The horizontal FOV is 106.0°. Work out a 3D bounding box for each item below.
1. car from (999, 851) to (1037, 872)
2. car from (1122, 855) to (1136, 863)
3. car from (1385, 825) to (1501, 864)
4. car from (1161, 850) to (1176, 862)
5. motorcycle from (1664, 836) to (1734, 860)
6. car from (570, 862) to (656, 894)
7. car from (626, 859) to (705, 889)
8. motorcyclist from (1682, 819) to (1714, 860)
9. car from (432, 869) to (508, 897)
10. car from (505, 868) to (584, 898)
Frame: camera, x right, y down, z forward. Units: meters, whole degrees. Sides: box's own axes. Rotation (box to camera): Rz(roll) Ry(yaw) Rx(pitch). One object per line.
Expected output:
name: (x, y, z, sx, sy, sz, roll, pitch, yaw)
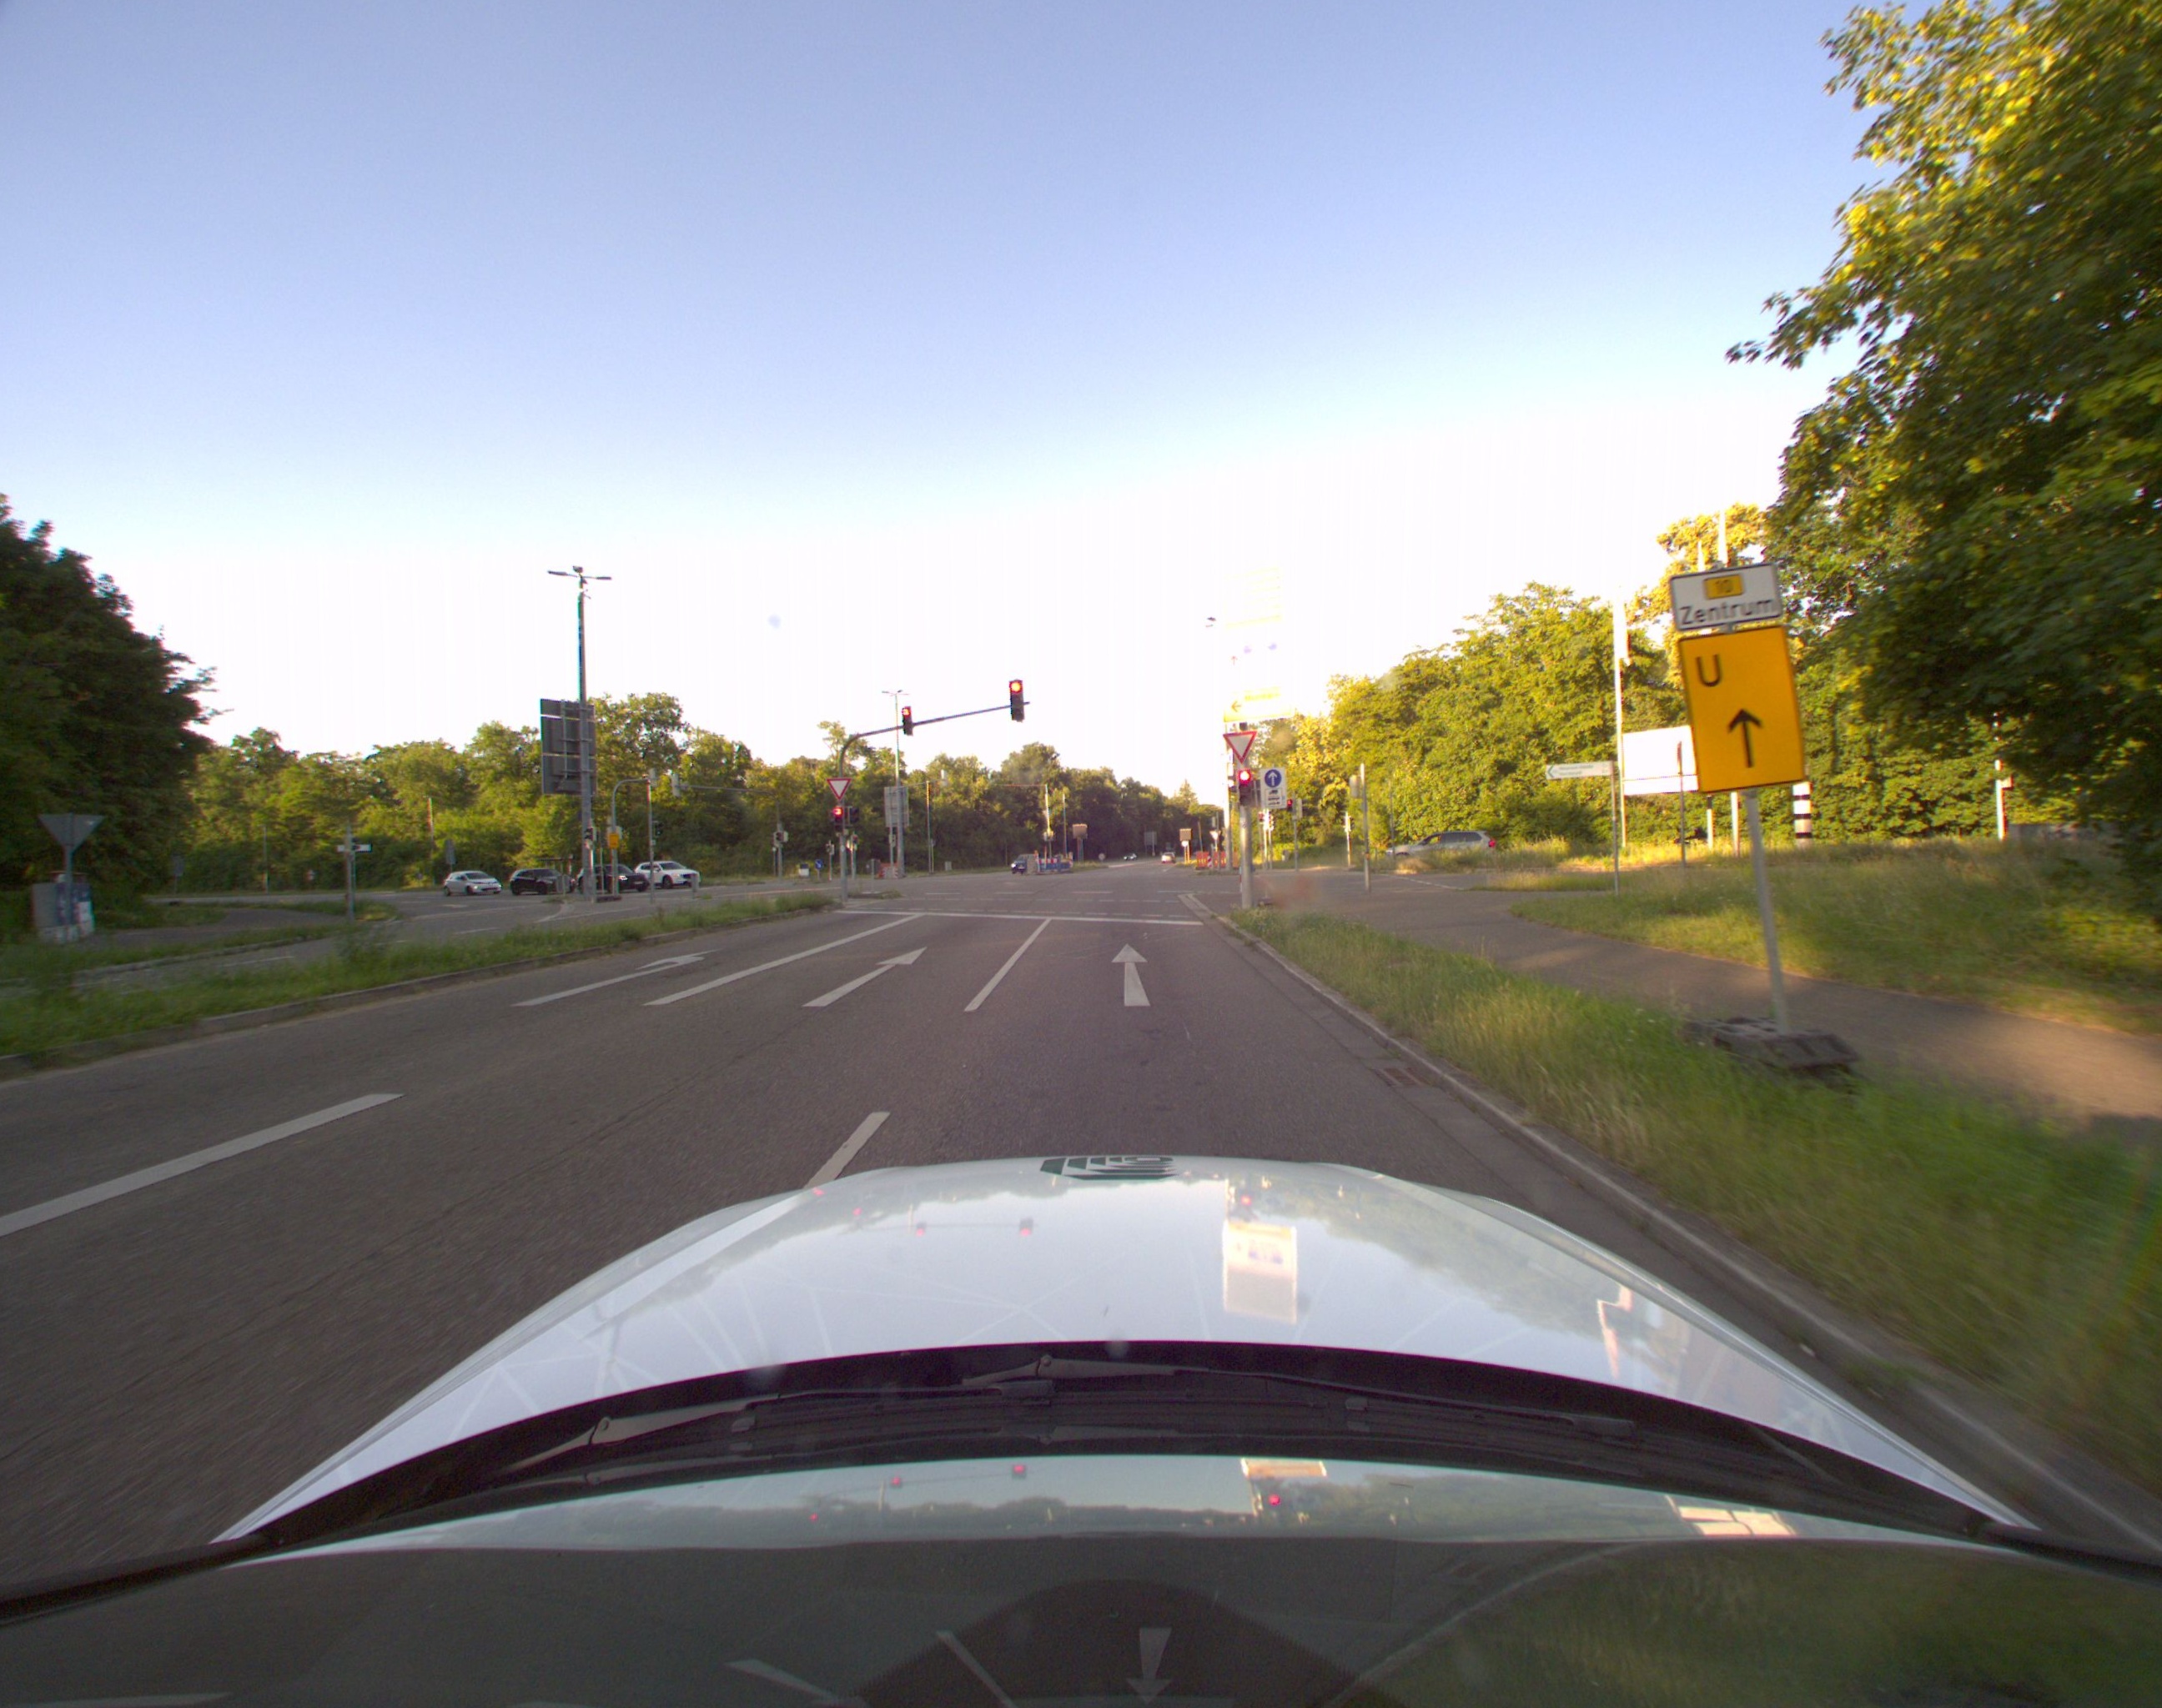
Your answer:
car: (-4.826, 0.545, 62.773, 1.983, 1.529, 4.687, -2, 0, 7)
car: (9.771, 0.934, 164.597, 1.978, 1.420, 4.017, -2, 0, 15)
car: (16.892, -0.416, 38.090, 4.772, 1.598, 2.012, -2, 0, 25)
car: (12.223, 0.238, 113.460, 1.983, 1.618, 4.008, -2, 0, 7)
motorcycle: (24.851, -0.240, 32.782, 2.124, 0.910, 0.666, -2, 0, 25)
car: (-25.964, 1.326, 45.209, 4.205, 1.640, 2.012, -2, 0, 25)
car: (-25.053, 1.224, 49.124, 4.205, 1.640, 2.012, -2, 0, 25)
motorcyclist: (24.826, -0.566, 32.767, 0.878, 1.595, 0.659, -2, 0, 25)
car: (-39.442, 1.866, 52.548, 4.206, 1.640, 2.011, -2, 0, 23)
car: (-32.223, 1.760, 48.883, 4.205, 1.640, 2.012, -2, 0, 25)
